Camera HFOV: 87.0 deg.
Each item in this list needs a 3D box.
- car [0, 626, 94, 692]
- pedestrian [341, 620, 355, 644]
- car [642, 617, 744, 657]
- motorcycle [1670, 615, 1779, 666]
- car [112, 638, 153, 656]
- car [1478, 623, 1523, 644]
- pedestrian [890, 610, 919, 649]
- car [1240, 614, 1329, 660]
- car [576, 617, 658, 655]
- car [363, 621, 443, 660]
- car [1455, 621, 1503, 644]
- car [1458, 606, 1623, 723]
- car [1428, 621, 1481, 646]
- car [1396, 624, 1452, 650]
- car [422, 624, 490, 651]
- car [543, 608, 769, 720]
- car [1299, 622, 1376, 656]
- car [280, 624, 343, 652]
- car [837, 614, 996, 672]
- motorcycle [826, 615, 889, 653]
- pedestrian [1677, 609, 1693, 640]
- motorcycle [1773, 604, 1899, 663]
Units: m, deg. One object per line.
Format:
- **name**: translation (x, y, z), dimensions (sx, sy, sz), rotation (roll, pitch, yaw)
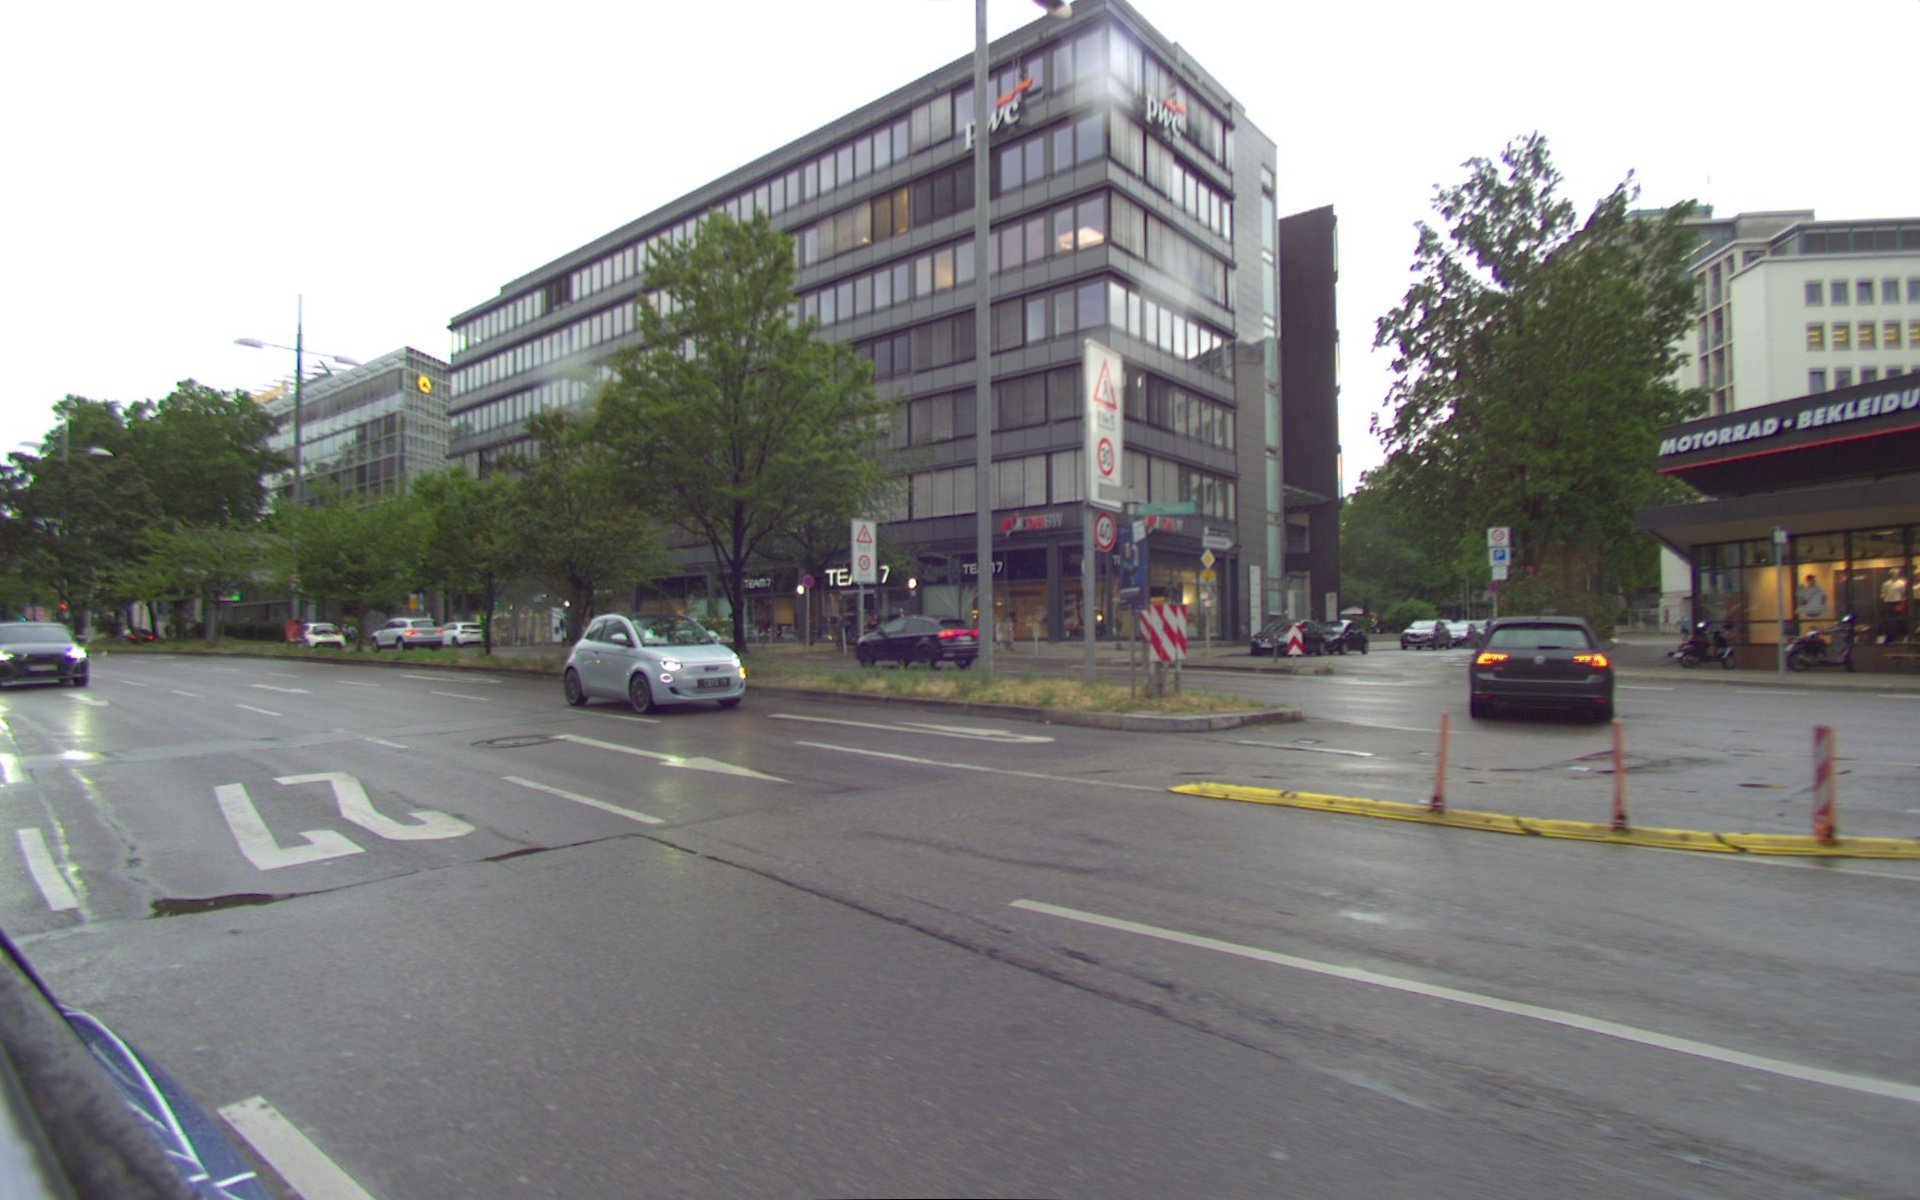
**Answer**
- **car**: translation (-22.543, 1.383, 24.434), dimensions (4.286, 1.446, 1.916), rotation (-2, -2, 42)
- **pedestrian**: translation (-48.340, 2.544, 79.949), dimensions (0.924, 1.846, 0.720), rotation (-1, -1, 40)
- **car**: translation (-11.503, 1.567, 43.470), dimensions (4.769, 1.496, 1.790), rotation (-2, 2, 41)
- **motorcycle**: translation (21.219, 1.109, 28.103), dimensions (2.774, 1.343, 0.725), rotation (-1, 0, -11)
- **car**: translation (-69.764, 3.928, 85.268), dimensions (4.295, 1.487, 1.791), rotation (-2, -2, 38)
- **car**: translation (36.297, 2.229, 67.885), dimensions (1.846, 1.298, 3.946), rotation (-1, 0, 41)
- **pedestrian**: translation (-2.390, 1.271, 43.727), dimensions (0.965, 1.650, 0.776), rotation (-2, -2, 40)
- **car**: translation (12.853, 1.408, 39.913), dimensions (1.999, 1.652, 3.946), rotation (-1, 0, 40)
- **car**: translation (-16.137, 1.670, 47.500), dimensions (4.309, 1.673, 1.789), rotation (-2, 0, 42)
- **car**: translation (-26.553, 1.893, 48.184), dimensions (4.487, 1.741, 1.721), rotation (-2, -1, 38)
- **car**: translation (32.761, 2.025, 63.833), dimensions (1.846, 1.298, 3.946), rotation (-1, 0, 41)
- **car**: translation (8.702, 0.885, 15.134), dimensions (1.838, 1.462, 4.638), rotation (-1, -2, 31)
- **car**: translation (28.980, 1.949, 59.228), dimensions (1.846, 1.298, 3.946), rotation (-1, 0, 41)
- **car**: translation (25.258, 1.979, 55.046), dimensions (1.845, 1.298, 3.947), rotation (-1, 0, 39)
- **car**: translation (-28.913, 2.151, 57.976), dimensions (4.303, 1.455, 1.792), rotation (-2, 0, 37)
- **car**: translation (-4.957, 0.961, 16.294), dimensions (3.688, 1.585, 1.765), rotation (-2, -2, 40)
- **car**: translation (16.185, 1.624, 43.324), dimensions (1.846, 1.298, 3.946), rotation (-1, 0, 40)
- **car**: translation (-35.155, 2.043, 54.829), dimensions (4.078, 1.442, 1.666), rotation (-2, -1, 39)
- **car**: translation (-1.315, 1.211, 29.438), dimensions (4.479, 1.556, 1.973), rotation (-2, -2, 40)
- **motorcycle**: translation (-4.075, 1.354, 40.335), dimensions (2.347, 1.404, 0.856), rotation (-1, 2, 14)
- **pedestrian**: translation (46.051, 1.561, 64.280), dimensions (0.729, 1.937, 0.912), rotation (-2, -1, 41)
- **motorcycle**: translation (21.756, 0.818, 25.137), dimensions (2.844, 1.384, 0.806), rotation (-1, 0, -13)
